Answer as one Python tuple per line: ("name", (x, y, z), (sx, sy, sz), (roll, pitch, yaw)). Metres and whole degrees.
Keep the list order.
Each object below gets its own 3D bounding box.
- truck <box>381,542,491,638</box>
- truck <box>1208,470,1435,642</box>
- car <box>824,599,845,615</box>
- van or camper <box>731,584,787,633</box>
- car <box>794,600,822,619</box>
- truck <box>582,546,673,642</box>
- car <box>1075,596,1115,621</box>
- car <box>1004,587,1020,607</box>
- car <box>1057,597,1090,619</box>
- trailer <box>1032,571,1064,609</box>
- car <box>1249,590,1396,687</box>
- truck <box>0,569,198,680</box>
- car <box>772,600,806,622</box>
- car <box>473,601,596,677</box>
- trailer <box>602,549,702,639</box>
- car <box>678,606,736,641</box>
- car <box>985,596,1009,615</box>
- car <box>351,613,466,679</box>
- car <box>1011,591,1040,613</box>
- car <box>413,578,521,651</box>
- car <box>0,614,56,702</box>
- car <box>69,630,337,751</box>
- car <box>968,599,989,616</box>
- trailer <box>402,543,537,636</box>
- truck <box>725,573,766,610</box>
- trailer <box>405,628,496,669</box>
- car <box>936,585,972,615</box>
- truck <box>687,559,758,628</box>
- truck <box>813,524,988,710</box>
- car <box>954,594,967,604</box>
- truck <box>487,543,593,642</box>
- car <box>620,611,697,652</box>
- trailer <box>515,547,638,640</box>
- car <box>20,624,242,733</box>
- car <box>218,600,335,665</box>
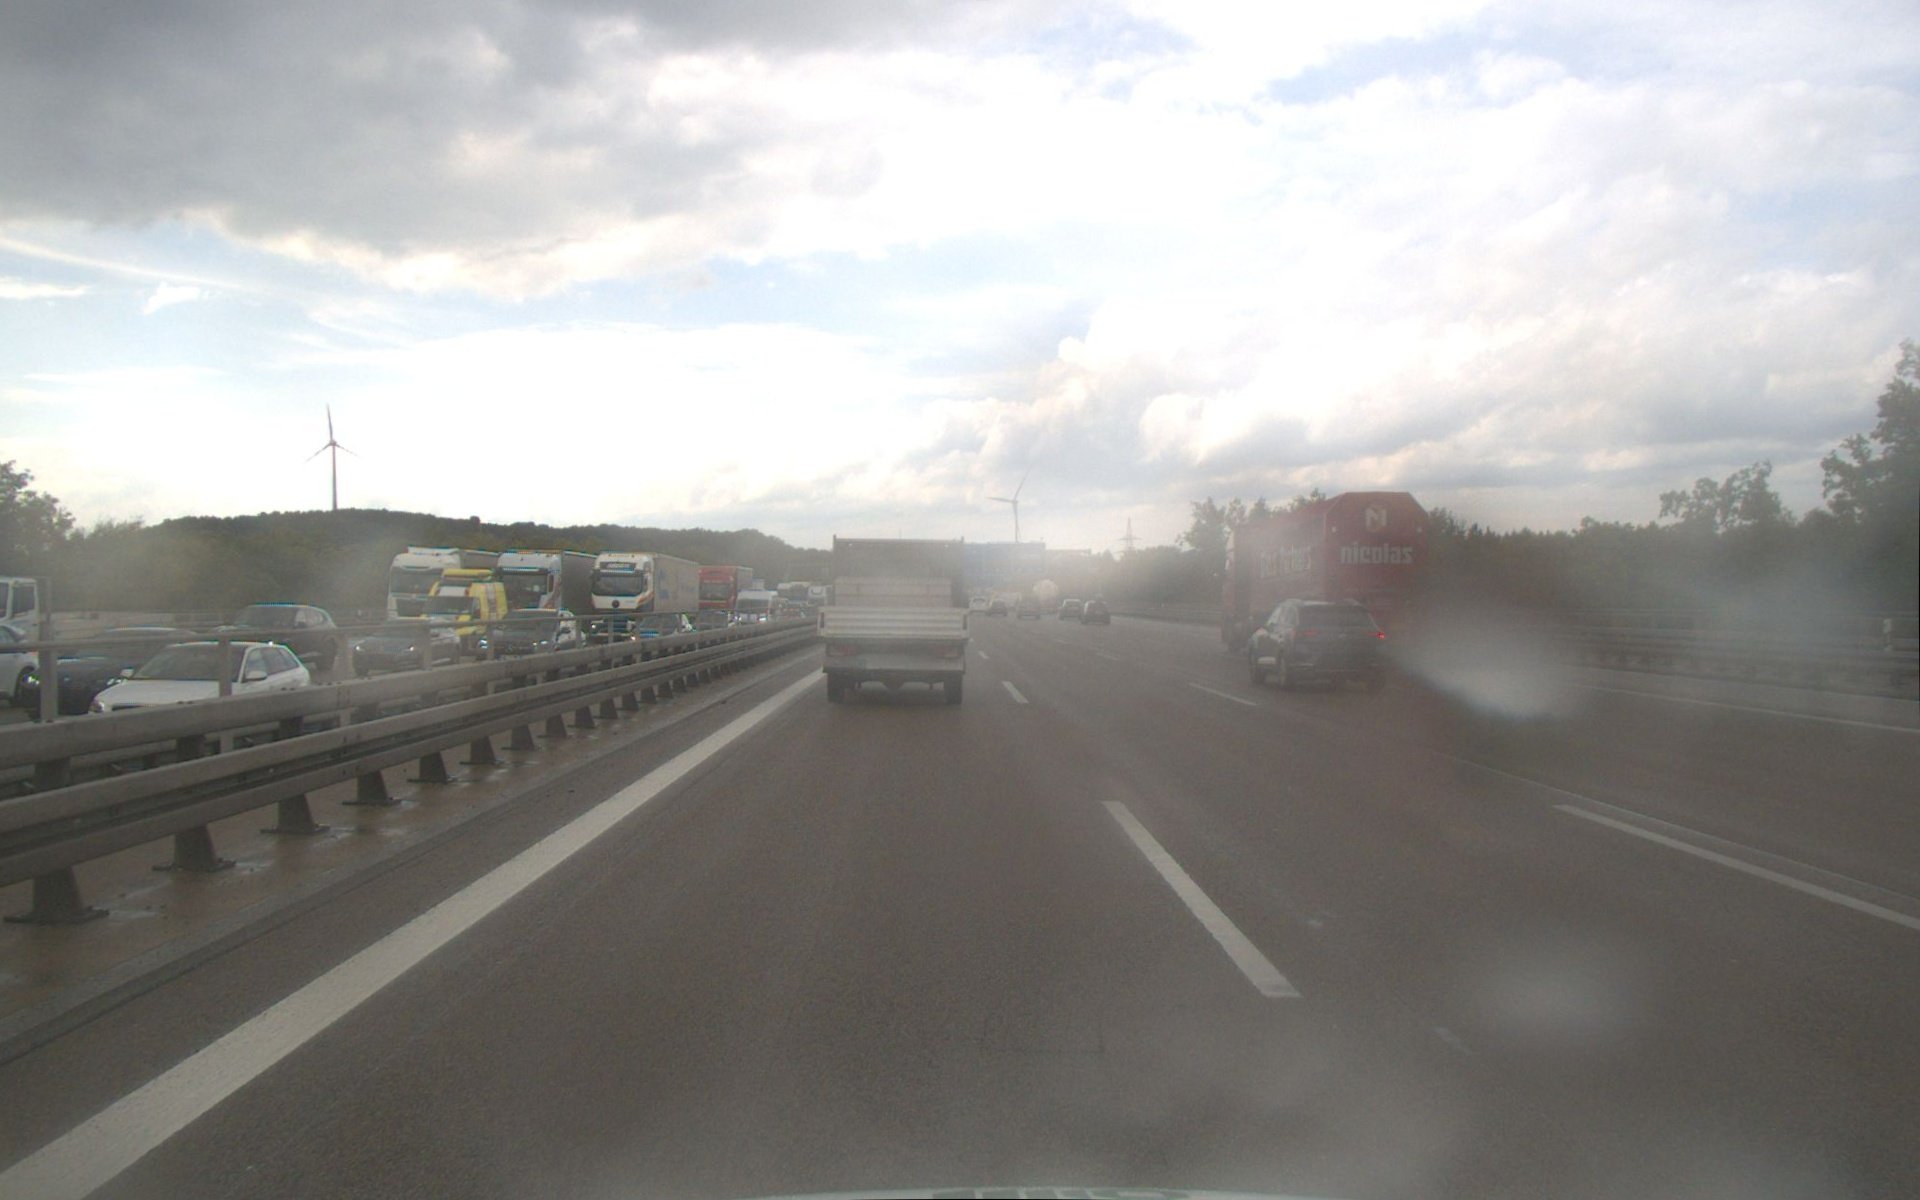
("truck", (-23.320, -0.454, 73.887), (2.702, 4.063, 6.577), (-1, 0, 1))
("truck", (9.714, -1.100, 46.924), (3.088, 4.073, 15.637), (0, 0, 0))
("car", (-11.606, 0.650, 153.131), (1.540, 1.377, 4.384), (-1, 0, 0))
("van or camper", (-10.910, 0.450, 90.281), (2.232, 2.539, 7.301), (-1, 0, -1))
("car", (-12.116, 0.755, 132.208), (1.794, 1.477, 4.000), (-1, 0, 0))
("truck", (-15.488, -0.283, 77.623), (2.822, 4.253, 7.555), (-1, 0, -1))
("car", (9.181, 0.538, 112.849), (2.063, 1.634, 5.063), (0, 0, -2))
("car", (6.682, -0.417, 213.573), (2.003, 2.541, 4.000), (0, 0, 1))
("car", (9.318, 0.616, 136.088), (2.005, 1.729, 5.002), (0, 0, -5))
("trailer", (10.315, -1.157, 194.157), (3.264, 4.249, 11.839), (1, 0, 1))
("car", (6.299, 0.638, 29.132), (1.755, 1.590, 3.721), (0, 0, 0))
("truck", (-22.052, 0.530, 40.487), (2.626, 2.413, 9.273), (-1, 0, -1))
("car", (-11.786, 0.773, 114.038), (1.883, 1.443, 5.011), (-1, 0, -1))
("car", (-10.881, 0.938, 42.684), (1.874, 1.797, 5.330), (-1, 0, -1))
("trailer", (-15.549, -0.322, 84.677), (2.822, 4.218, 13.026), (-1, 0, -1))
("car", (-11.429, 1.034, 74.881), (1.883, 1.443, 5.163), (-1, 0, -1))
("car", (3.429, 0.523, 153.629), (2.004, 1.729, 3.998), (0, 0, -2))
("car", (-14.900, 1.206, 44.900), (1.713, 1.604, 4.687), (-1, 0, -3))
("car", (5.376, 0.165, 136.802), (2.055, 1.729, 3.998), (0, 0, -2))
("car", (-18.396, 0.495, 62.083), (2.112, 2.548, 6.771), (-1, 0, -1))
("car", (-17.586, 1.035, 28.509), (1.713, 1.505, 4.416), (-1, 0, -3))
("car", (-10.452, 1.182, 23.268), (1.727, 1.407, 4.818), (-1, 0, -3))
("car", (1.844, 0.753, 166.431), (1.932, 1.729, 3.998), (0, 0, -2))
("trailer", (-23.253, -0.488, 79.259), (2.701, 4.063, 12.307), (-1, 0, 0))
("truck", (-23.654, -0.961, 182.896), (3.159, 3.978, 10.282), (1, 0, 0))
("trailer", (-15.017, 1.413, 48.900), (1.690, 1.056, 3.340), (-1, 0, -1))
("car", (-0.342, 0.000, 96.311), (2.003, 1.729, 4.000), (0, 0, 1))
("truck", (-15.373, -0.418, 107.973), (2.923, 4.221, 12.520), (-1, 0, -1))
("truck", (-0.944, 0.202, 25.746), (2.306, 2.450, 7.355), (1, 0, -2))
("car", (0.024, -0.102, 246.628), (1.776, 1.471, 3.998), (-1, 0, -2))
("truck", (-18.832, -0.322, 74.627), (2.844, 4.219, 7.102), (-1, 0, 1))
("car", (-11.367, 1.158, 62.667), (1.974, 1.411, 5.458), (-1, 0, -1))
("trailer", (-18.715, -0.329, 81.795), (2.821, 4.218, 13.029), (-1, 0, 1))
("car", (-14.014, 1.265, 28.250), (1.713, 1.604, 4.416), (-1, 0, -3))
("car", (-18.089, 0.813, 43.961), (1.502, 1.624, 3.999), (-1, 0, -1))
